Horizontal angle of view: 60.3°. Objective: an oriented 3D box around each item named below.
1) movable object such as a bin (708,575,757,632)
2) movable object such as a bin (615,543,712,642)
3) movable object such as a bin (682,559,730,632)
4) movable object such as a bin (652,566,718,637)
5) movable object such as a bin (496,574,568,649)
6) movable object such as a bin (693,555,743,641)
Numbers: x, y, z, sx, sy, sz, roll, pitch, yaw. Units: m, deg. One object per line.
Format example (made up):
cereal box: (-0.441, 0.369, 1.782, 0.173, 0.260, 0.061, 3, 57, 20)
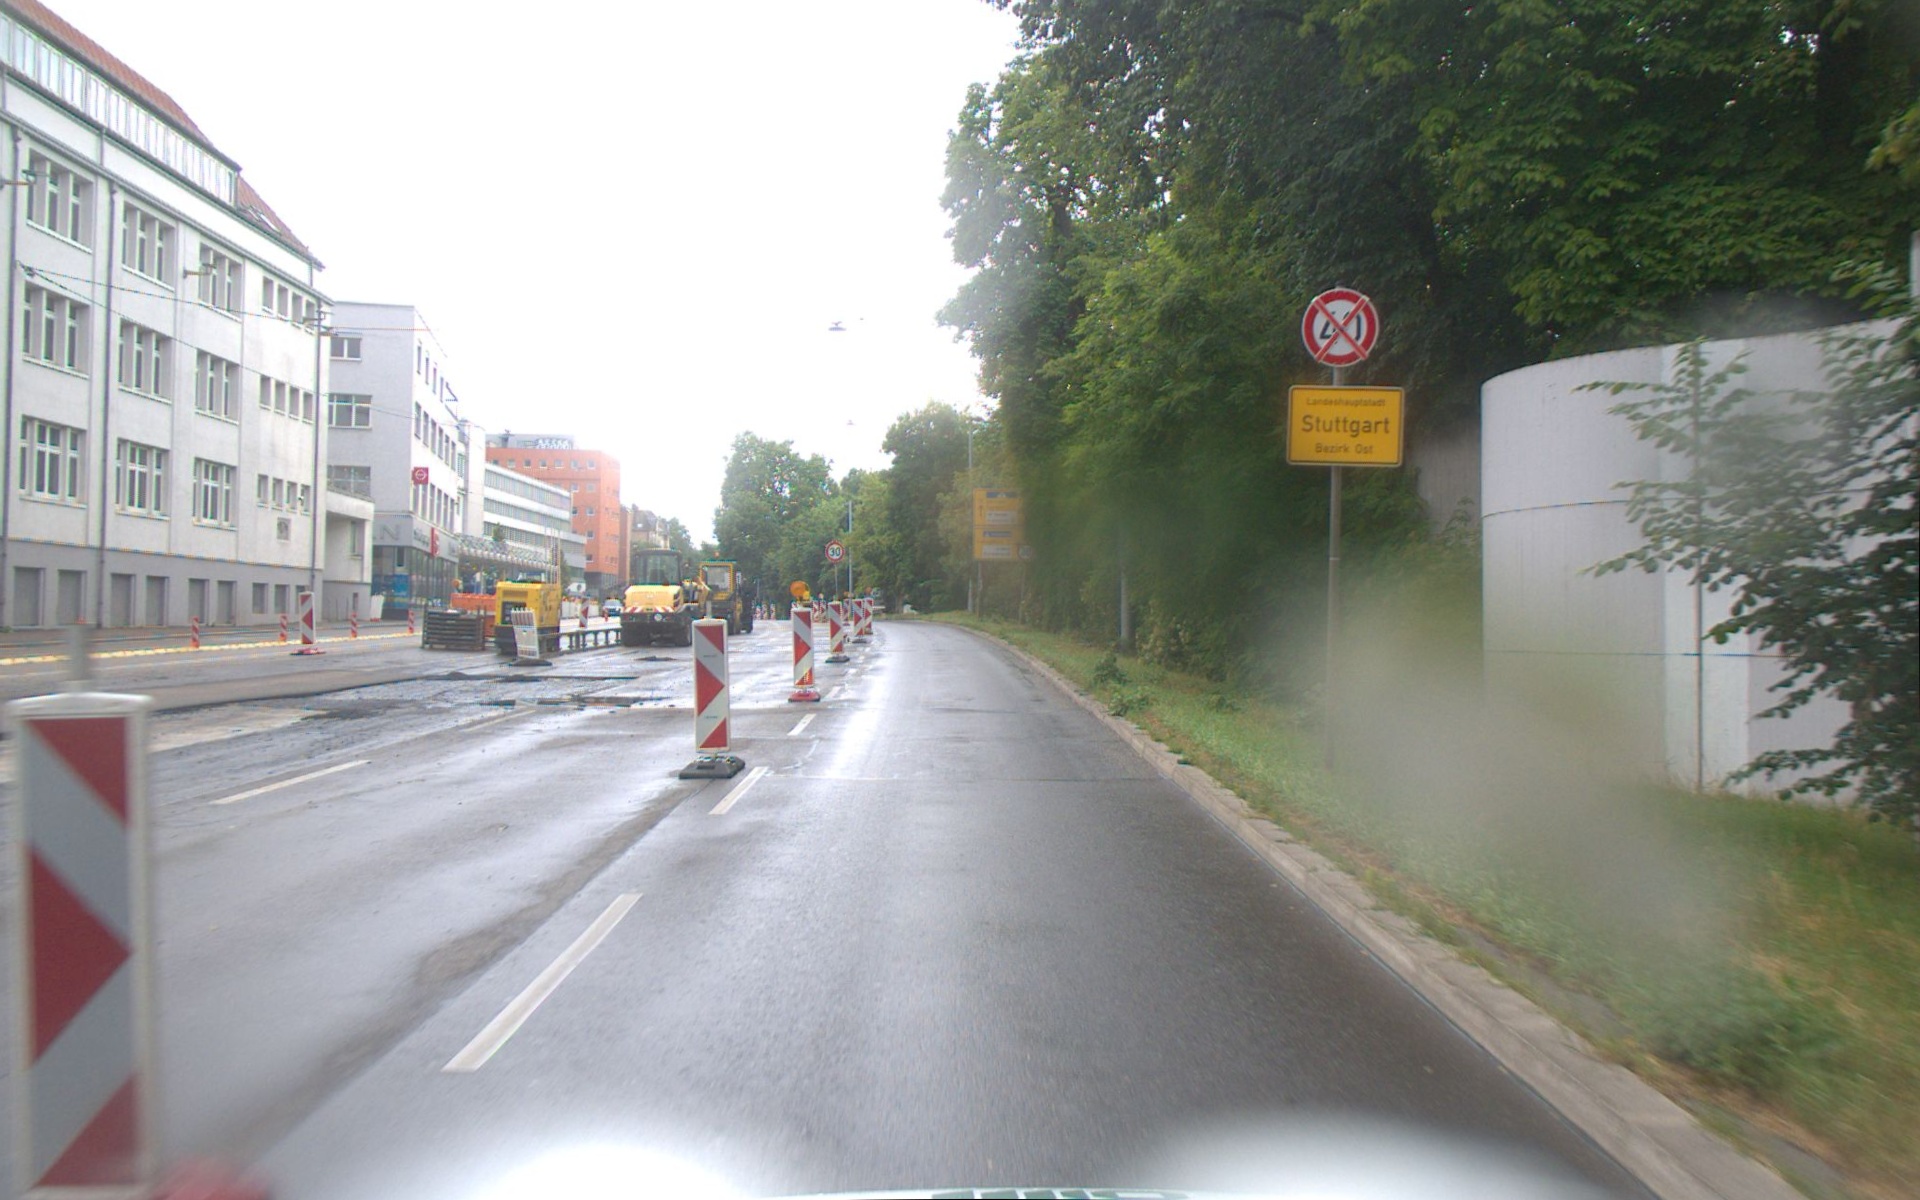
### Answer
movable object such as a bin: (-9.067, 0.124, 66.112, 1.682, 2.187, 3.347, -1, 0, -4)
movable object such as a bin: (-8.394, -0.195, 47.240, 1.863, 2.655, 5.381, 0, 0, -1)
movable object such as a bin: (-8.845, -0.154, 57.726, 1.383, 2.443, 2.404, -1, 0, -4)
movable object such as a bin: (-8.682, 0.045, 52.558, 1.335, 2.126, 5.029, 0, 0, -1)
movable object such as a bin: (-9.971, 0.258, 38.648, 1.061, 1.673, 2.438, 1, 0, -2)
movable object such as a bin: (-8.985, -0.076, 61.598, 1.436, 3.061, 3.722, -1, 0, -2)
